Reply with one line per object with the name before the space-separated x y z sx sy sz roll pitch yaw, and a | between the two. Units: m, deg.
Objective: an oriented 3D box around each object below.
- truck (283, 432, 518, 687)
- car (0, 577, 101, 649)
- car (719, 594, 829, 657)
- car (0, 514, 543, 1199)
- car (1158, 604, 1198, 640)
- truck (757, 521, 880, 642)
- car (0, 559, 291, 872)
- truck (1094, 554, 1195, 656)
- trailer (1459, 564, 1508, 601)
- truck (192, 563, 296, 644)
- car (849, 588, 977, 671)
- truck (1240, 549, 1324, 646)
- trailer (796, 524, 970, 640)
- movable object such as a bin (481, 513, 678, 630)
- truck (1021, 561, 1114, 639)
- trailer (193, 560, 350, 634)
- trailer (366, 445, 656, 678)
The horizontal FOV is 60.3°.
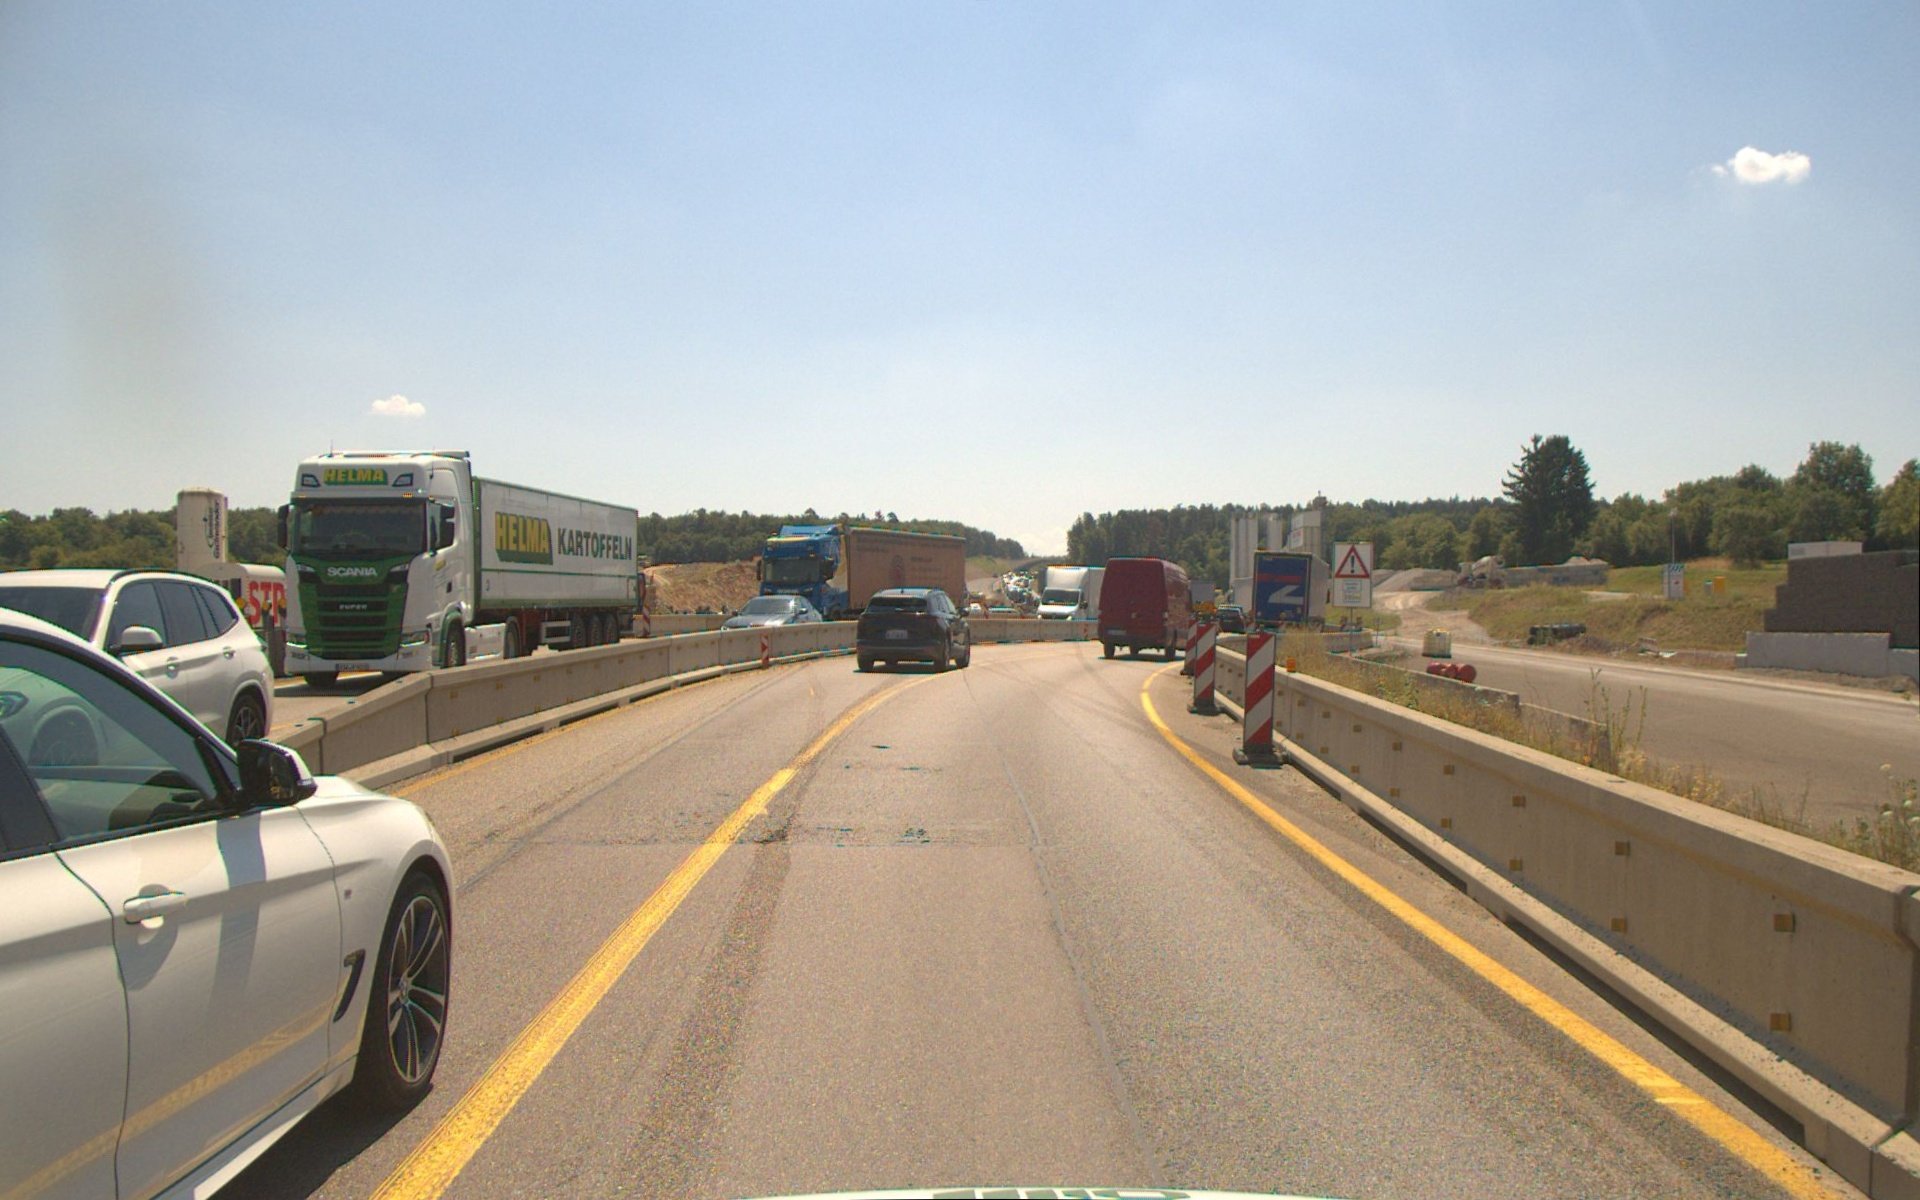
truck | -9.705 -0.648 29.236 2.398 4.078 5.076 1 0 -1
car | -28.136 0.343 49.716 2.161 2.051 5.107 1 0 -3
car | -4.744 0.623 42.887 1.717 1.504 4.540 1 0 8
car | -2.321 0.664 3.215 1.758 1.561 5.072 -1 0 -1
car | 10.285 1.028 78.229 1.763 1.607 4.003 1 0 6
truck | -5.049 -0.633 59.891 2.491 4.152 5.548 1 0 17
car | -6.468 0.637 11.442 1.953 1.769 4.491 1 0 -2
truck | 5.340 0.129 46.985 2.066 2.679 6.489 1 0 13
trailer | 60.778 -1.983 192.140 2.704 4.186 6.733 1 0 -8
truck | -28.585 0.149 66.188 2.293 3.096 4.264 1 0 -1
car | -0.890 0.563 33.729 1.757 1.561 3.934 1 0 11
truck | 15.054 -0.119 76.875 2.952 4.225 8.277 1 0 17
trailer | -2.804 -0.663 66.925 2.532 4.224 13.070 1 0 18
movable object such as a bin | -15.201 -1.081 67.018 2.864 4.405 9.324 1 0 23
truck | 5.127 -0.002 77.535 2.525 3.440 6.930 1 0 19
trailer | -29.432 -0.125 70.859 5.450 3.049 2.883 1 0 -1
trailer | -9.347 -0.707 36.446 2.304 4.224 12.503 1 0 3
